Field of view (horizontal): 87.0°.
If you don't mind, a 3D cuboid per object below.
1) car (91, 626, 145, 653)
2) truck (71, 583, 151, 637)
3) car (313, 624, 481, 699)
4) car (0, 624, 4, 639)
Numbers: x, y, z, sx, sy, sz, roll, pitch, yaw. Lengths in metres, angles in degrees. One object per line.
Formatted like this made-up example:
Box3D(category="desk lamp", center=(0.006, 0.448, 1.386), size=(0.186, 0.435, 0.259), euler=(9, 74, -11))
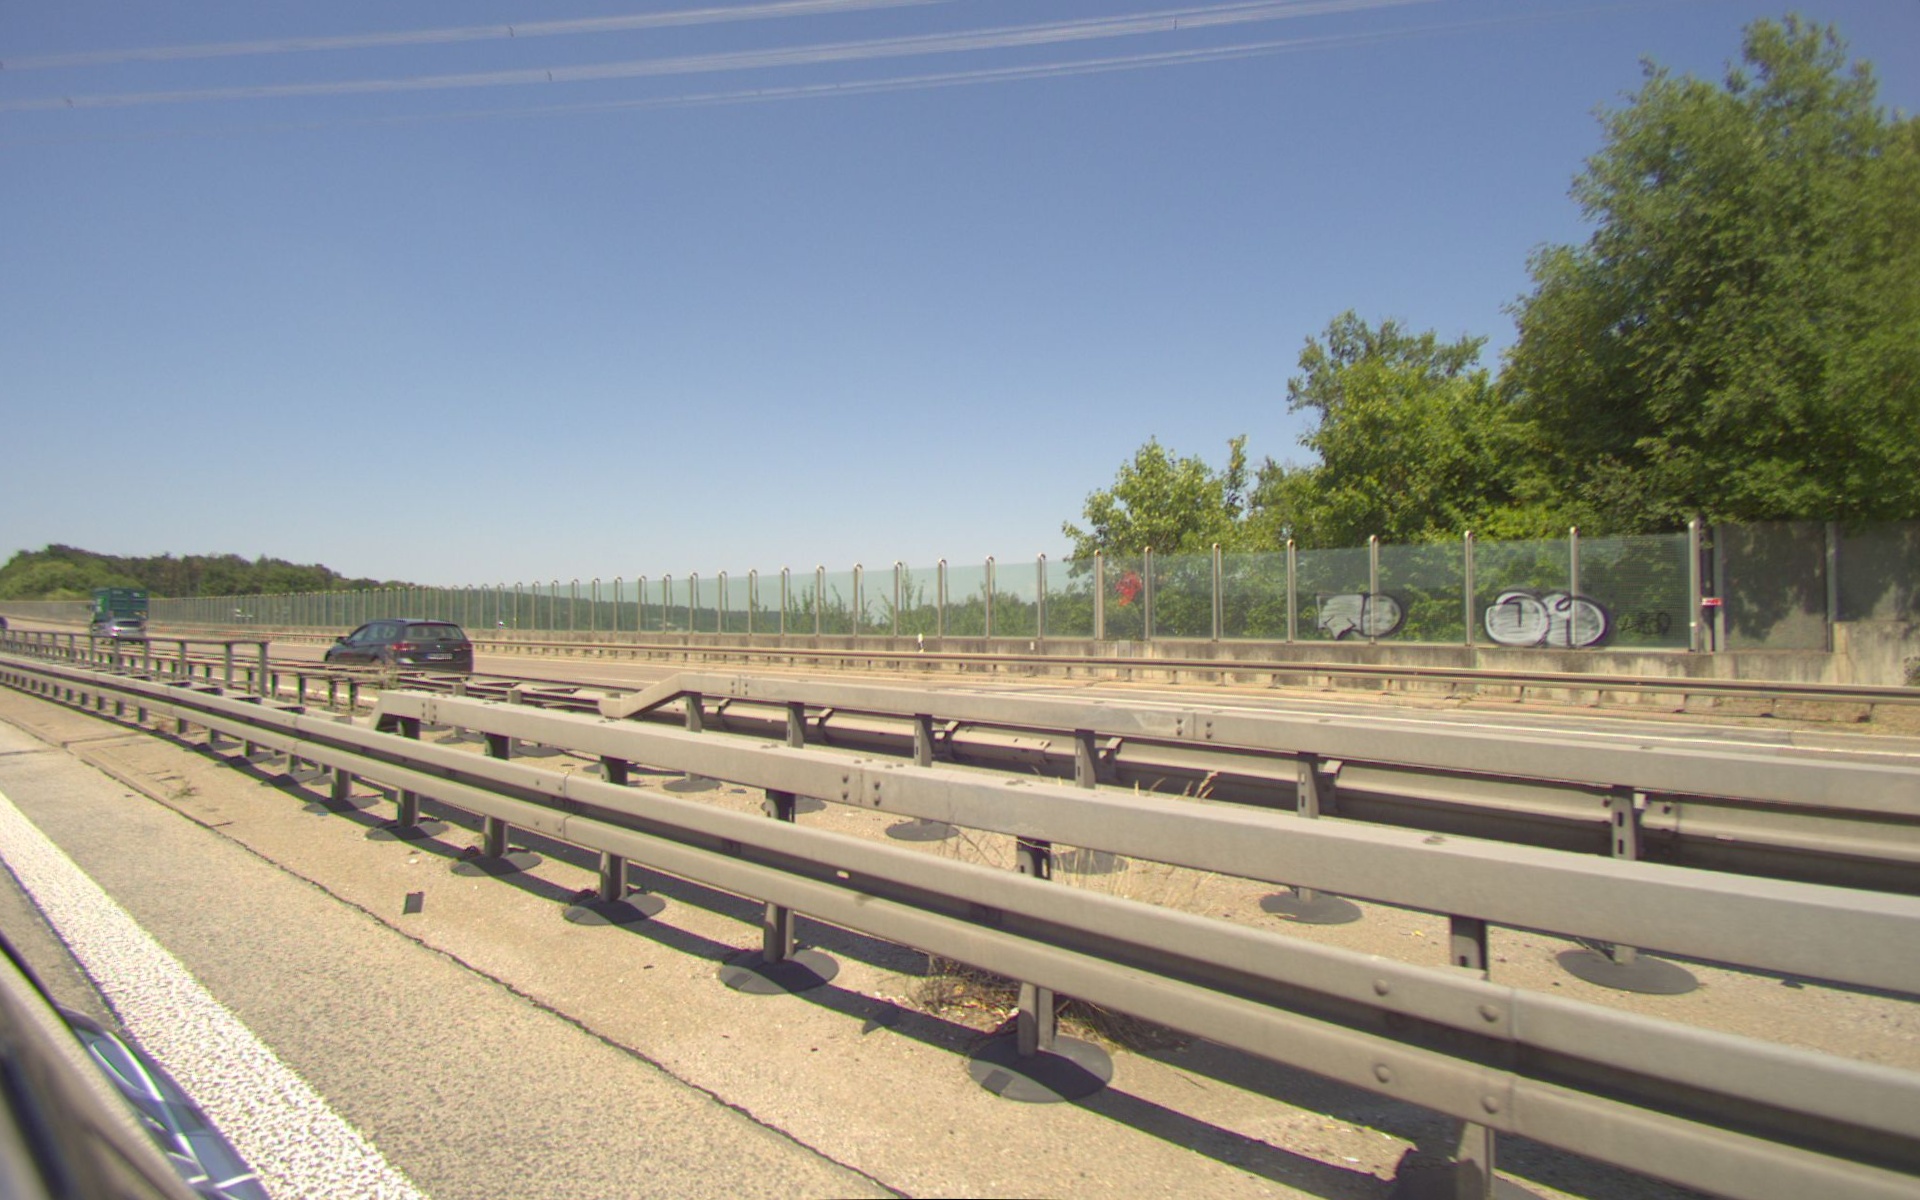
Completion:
Box3D(category="car", center=(-51.724, 2.434, 62.152), size=(4.042, 1.617, 1.764), euler=(-3, -3, 39))
Box3D(category="truck", center=(-70.100, 0.935, 83.456), size=(11.085, 4.169, 3.272), euler=(-2, -4, 41))
Box3D(category="car", center=(-12.380, 1.281, 22.145), size=(4.486, 1.485, 1.763), euler=(-2, -2, 41))
Box3D(category="car", center=(-107.052, 3.460, 111.643), size=(4.045, 1.578, 1.930), euler=(-2, -2, 41))
